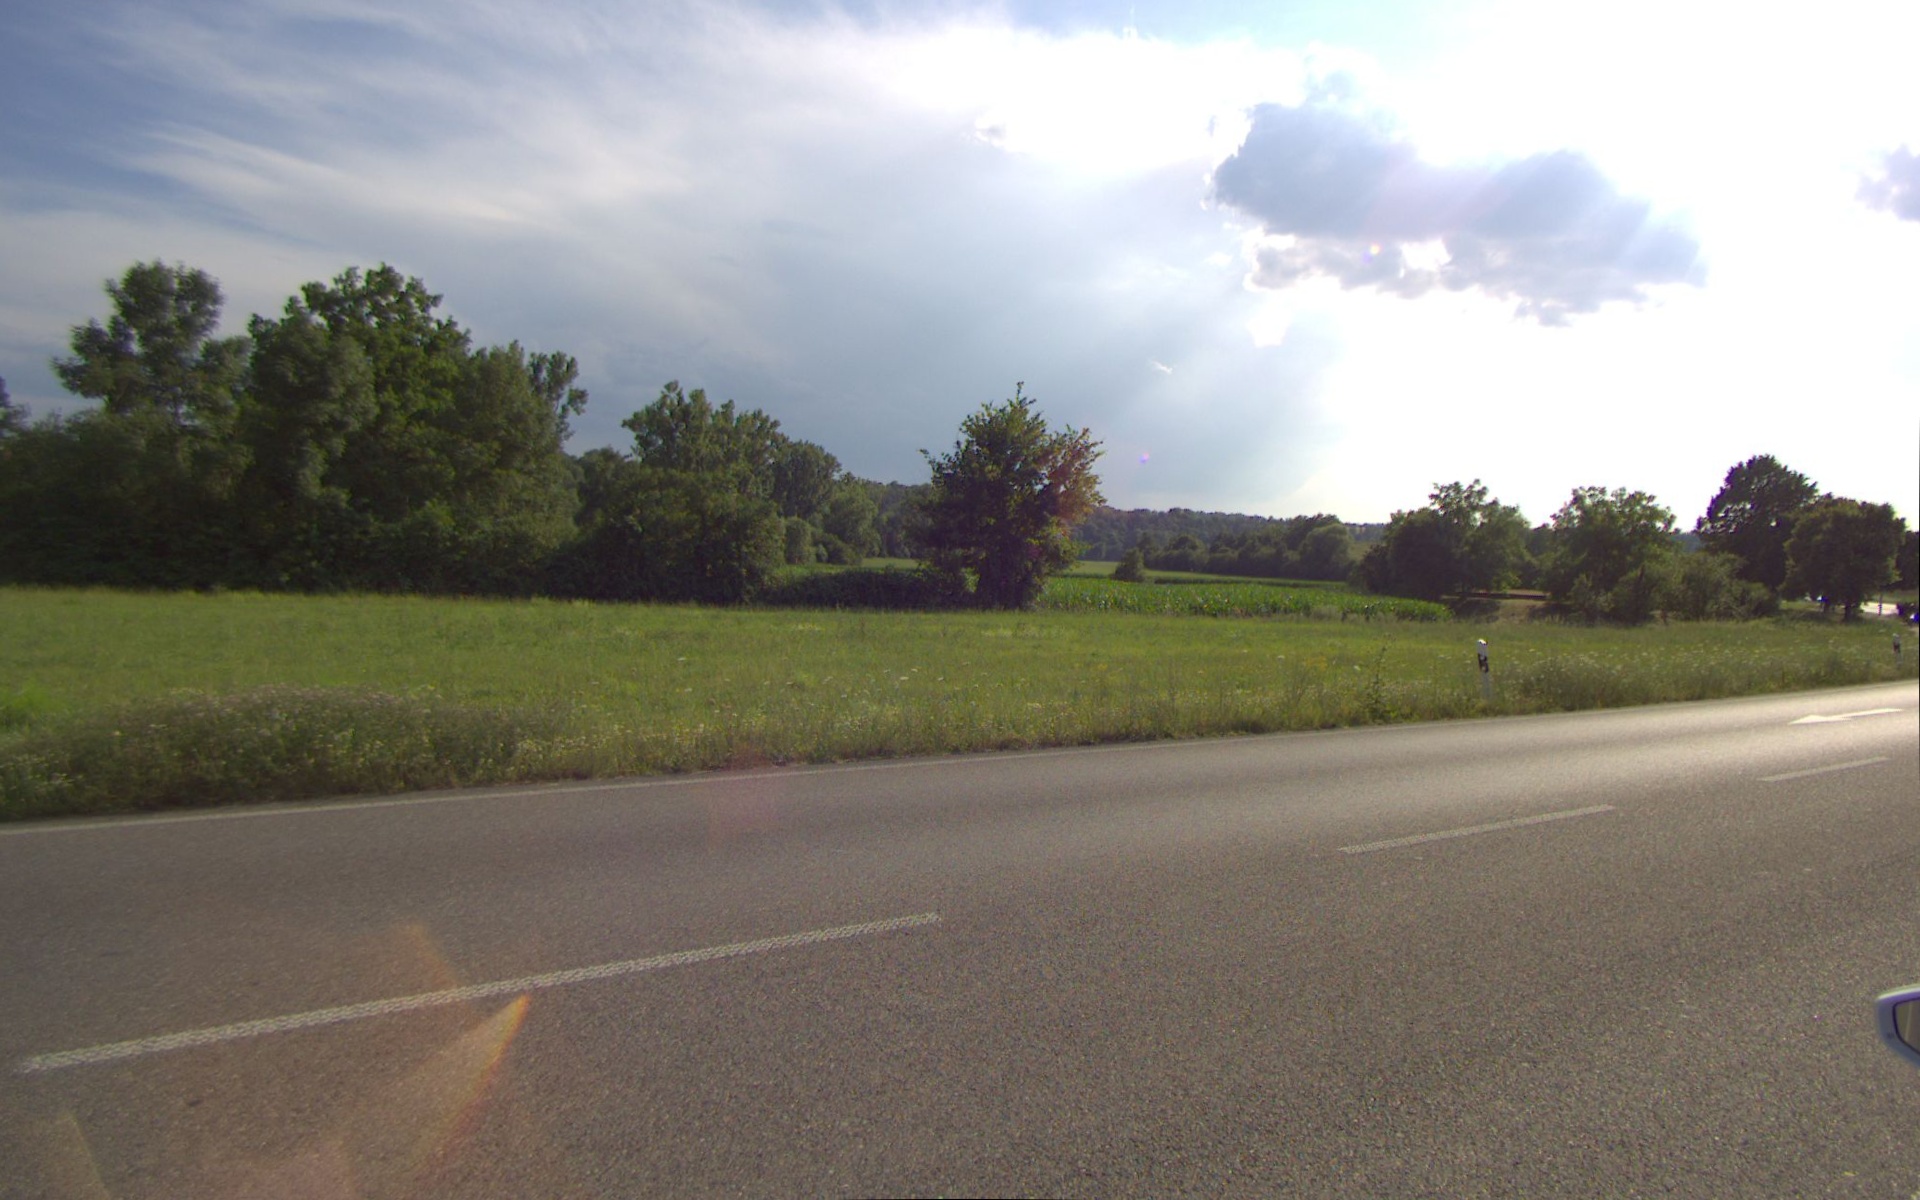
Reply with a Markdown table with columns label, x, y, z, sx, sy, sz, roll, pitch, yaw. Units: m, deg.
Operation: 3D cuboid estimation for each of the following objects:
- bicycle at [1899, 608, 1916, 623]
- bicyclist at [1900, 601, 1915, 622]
| label | x | y | z | sx | sy | sz | roll | pitch | yaw |
| --- | --- | --- | --- | --- | --- | --- | --- | --- | --- |
| bicycle | 69.723 | 1.153 | 73.920 | 1.656 | 1.089 | 0.630 | 1 | 2 | -39 |
| bicyclist | 69.763 | 0.846 | 73.931 | 0.685 | 1.439 | 0.630 | 1 | 2 | -38 |
